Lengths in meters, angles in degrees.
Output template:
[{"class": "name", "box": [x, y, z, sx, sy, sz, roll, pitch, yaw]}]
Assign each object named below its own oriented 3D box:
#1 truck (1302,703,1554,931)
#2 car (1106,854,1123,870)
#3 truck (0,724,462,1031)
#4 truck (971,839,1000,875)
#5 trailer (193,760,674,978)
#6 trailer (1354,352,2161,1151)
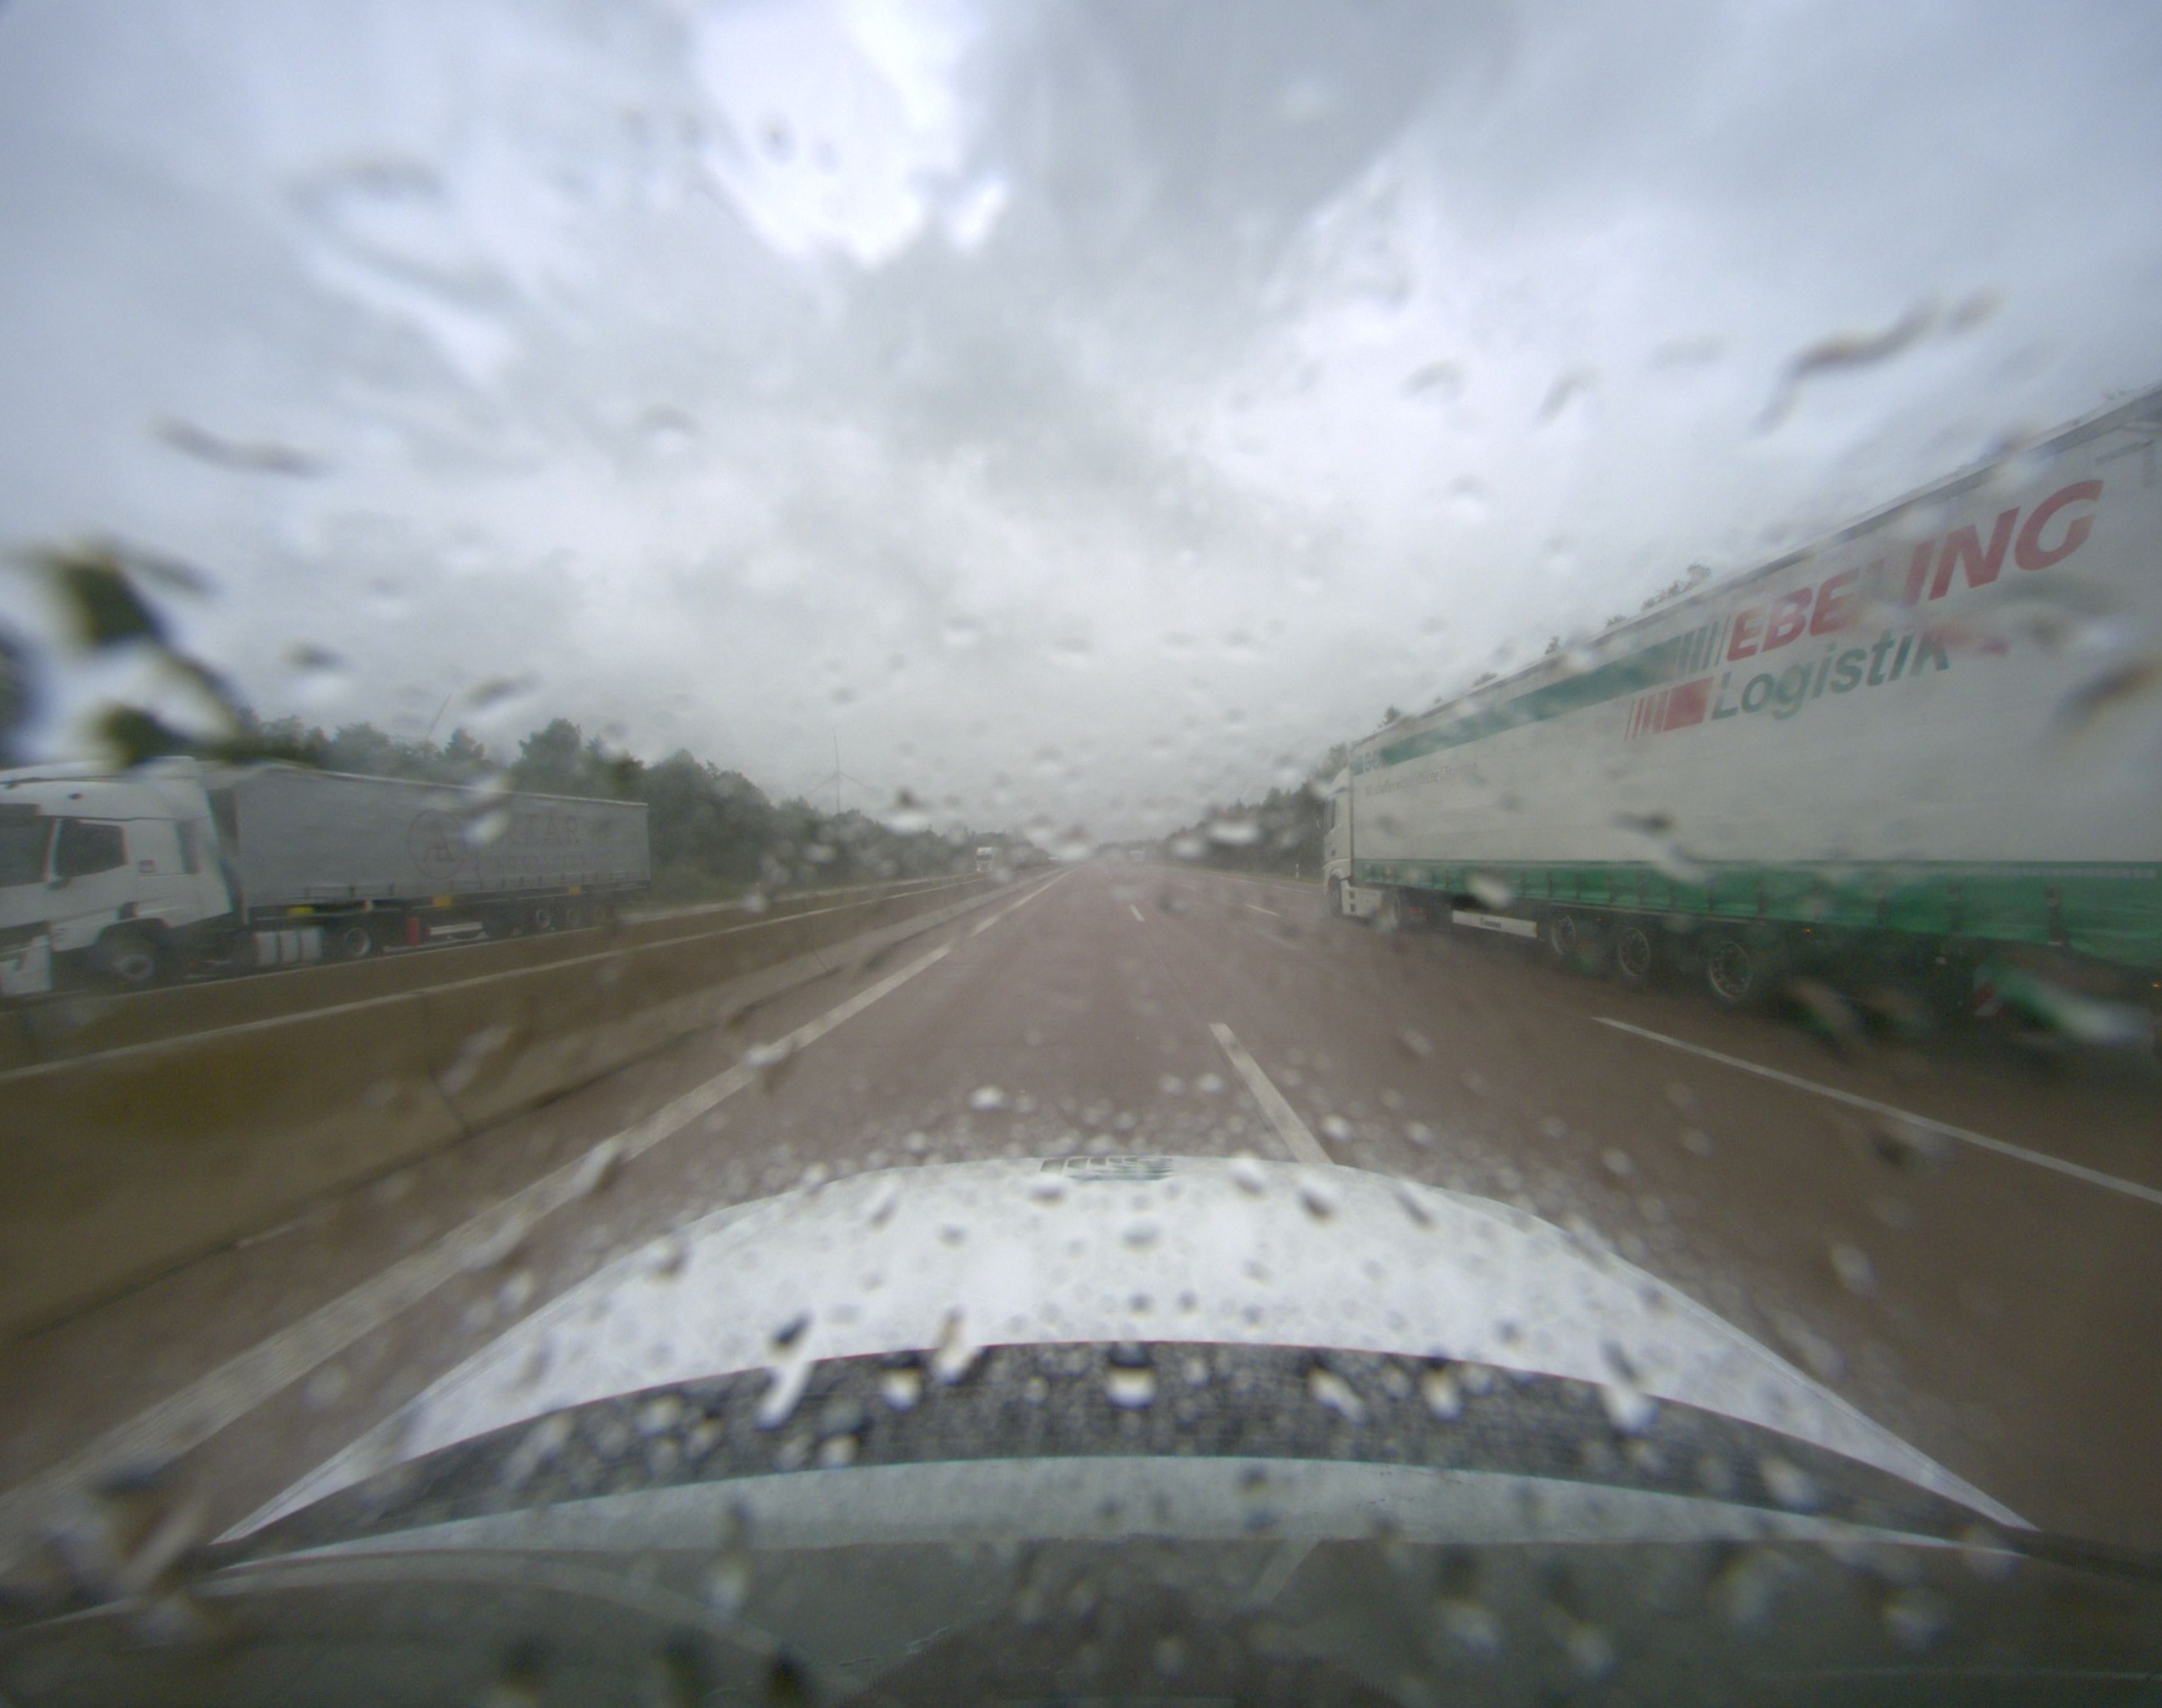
[{"class": "truck", "box": [7.304, -0.712, 18.268, 2.871, 4.106, 6.350, -3, 0, 1]}, {"class": "car", "box": [4.635, 1.123, 113.550, 2.165, 1.981, 4.131, -3, 0, 1]}, {"class": "truck", "box": [-16.595, 0.368, 15.511, 3.407, 4.360, 7.947, 0, -1, 1]}, {"class": "truck", "box": [-15.035, 0.492, 128.717, 3.407, 5.379, 8.158, 0, -1, 1]}, {"class": "trailer", "box": [-16.451, 0.352, 23.016, 3.418, 4.466, 12.447, 0, 0, 1]}, {"class": "trailer", "box": [7.236, -0.624, 10.729, 2.843, 4.231, 13.132, -3, 0, 1]}]
